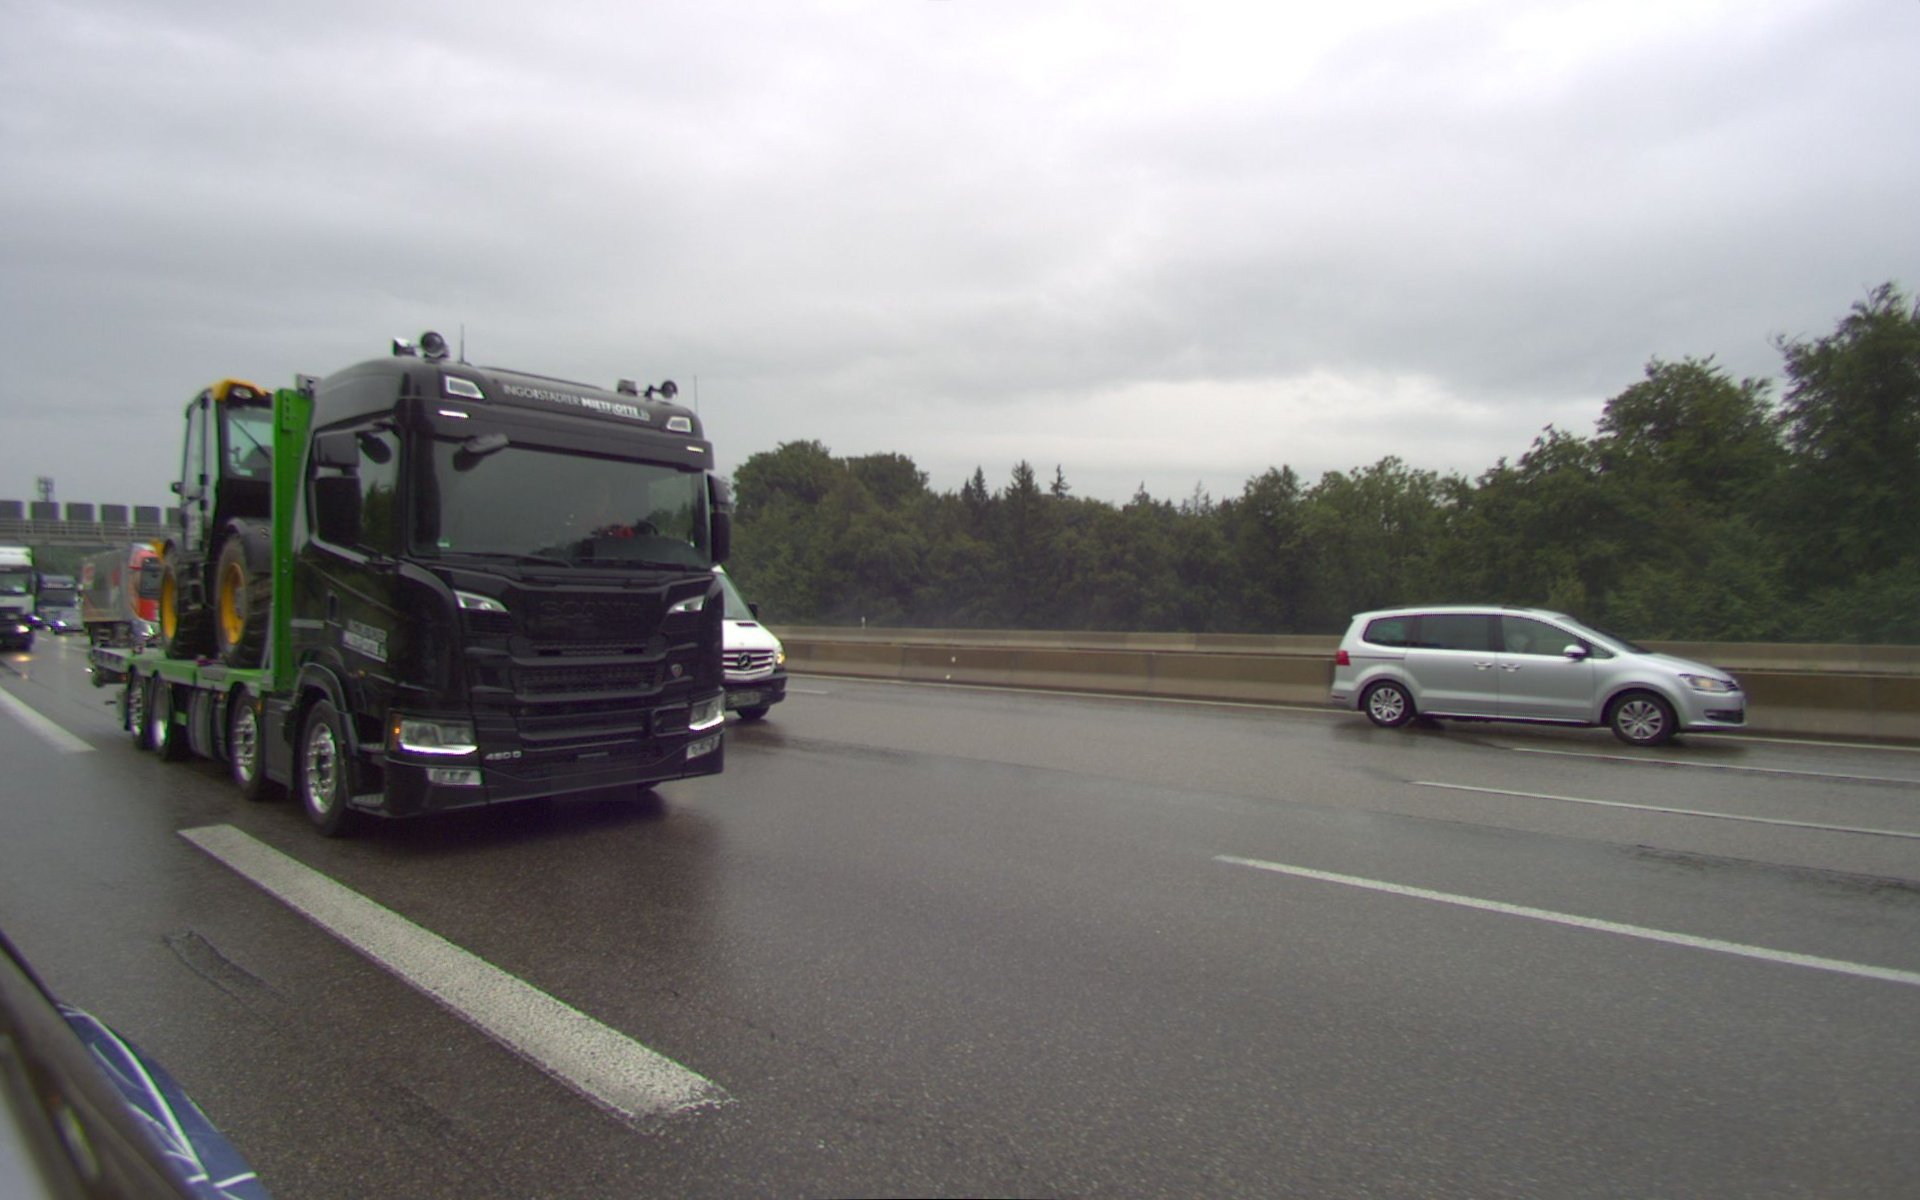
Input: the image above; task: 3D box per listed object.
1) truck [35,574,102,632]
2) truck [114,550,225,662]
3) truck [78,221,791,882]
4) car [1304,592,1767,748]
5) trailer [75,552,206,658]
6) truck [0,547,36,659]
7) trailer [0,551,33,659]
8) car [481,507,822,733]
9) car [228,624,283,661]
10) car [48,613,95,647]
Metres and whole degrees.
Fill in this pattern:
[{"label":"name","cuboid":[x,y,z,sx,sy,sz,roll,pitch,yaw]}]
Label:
[{"label":"truck","cuboid":[-70.170,0.052,79.539,3.308,4.100,12.585,-4,4,-43]},{"label":"truck","cuboid":[-29.512,0.217,37.731,4.590,3.893,2.598,0,-1,44]},{"label":"truck","cuboid":[-6.537,-0.212,10.594,11.797,3.616,2.800,-1,-1,43]},{"label":"car","cuboid":[7.460,0.820,13.502,5.080,1.696,1.972,-1,-2,41]},{"label":"trailer","cuboid":[-34.971,0.213,42.904,13.679,3.893,2.598,0,-1,44]},{"label":"truck","cuboid":[-38.092,0.109,39.392,2.885,4.130,6.723,0,0,-45]},{"label":"trailer","cuboid":[-42.790,0.169,44.203,2.885,4.237,13.644,0,0,-45]},{"label":"car","cuboid":[-4.687,0.239,14.705,5.845,2.649,2.190,0,0,44]},{"label":"car","cuboid":[-40.520,2.413,58.205,4.000,1.785,1.739,1,4,43]},{"label":"car","cuboid":[-53.955,1.777,61.452,4.001,1.785,1.738,1,4,44]}]
